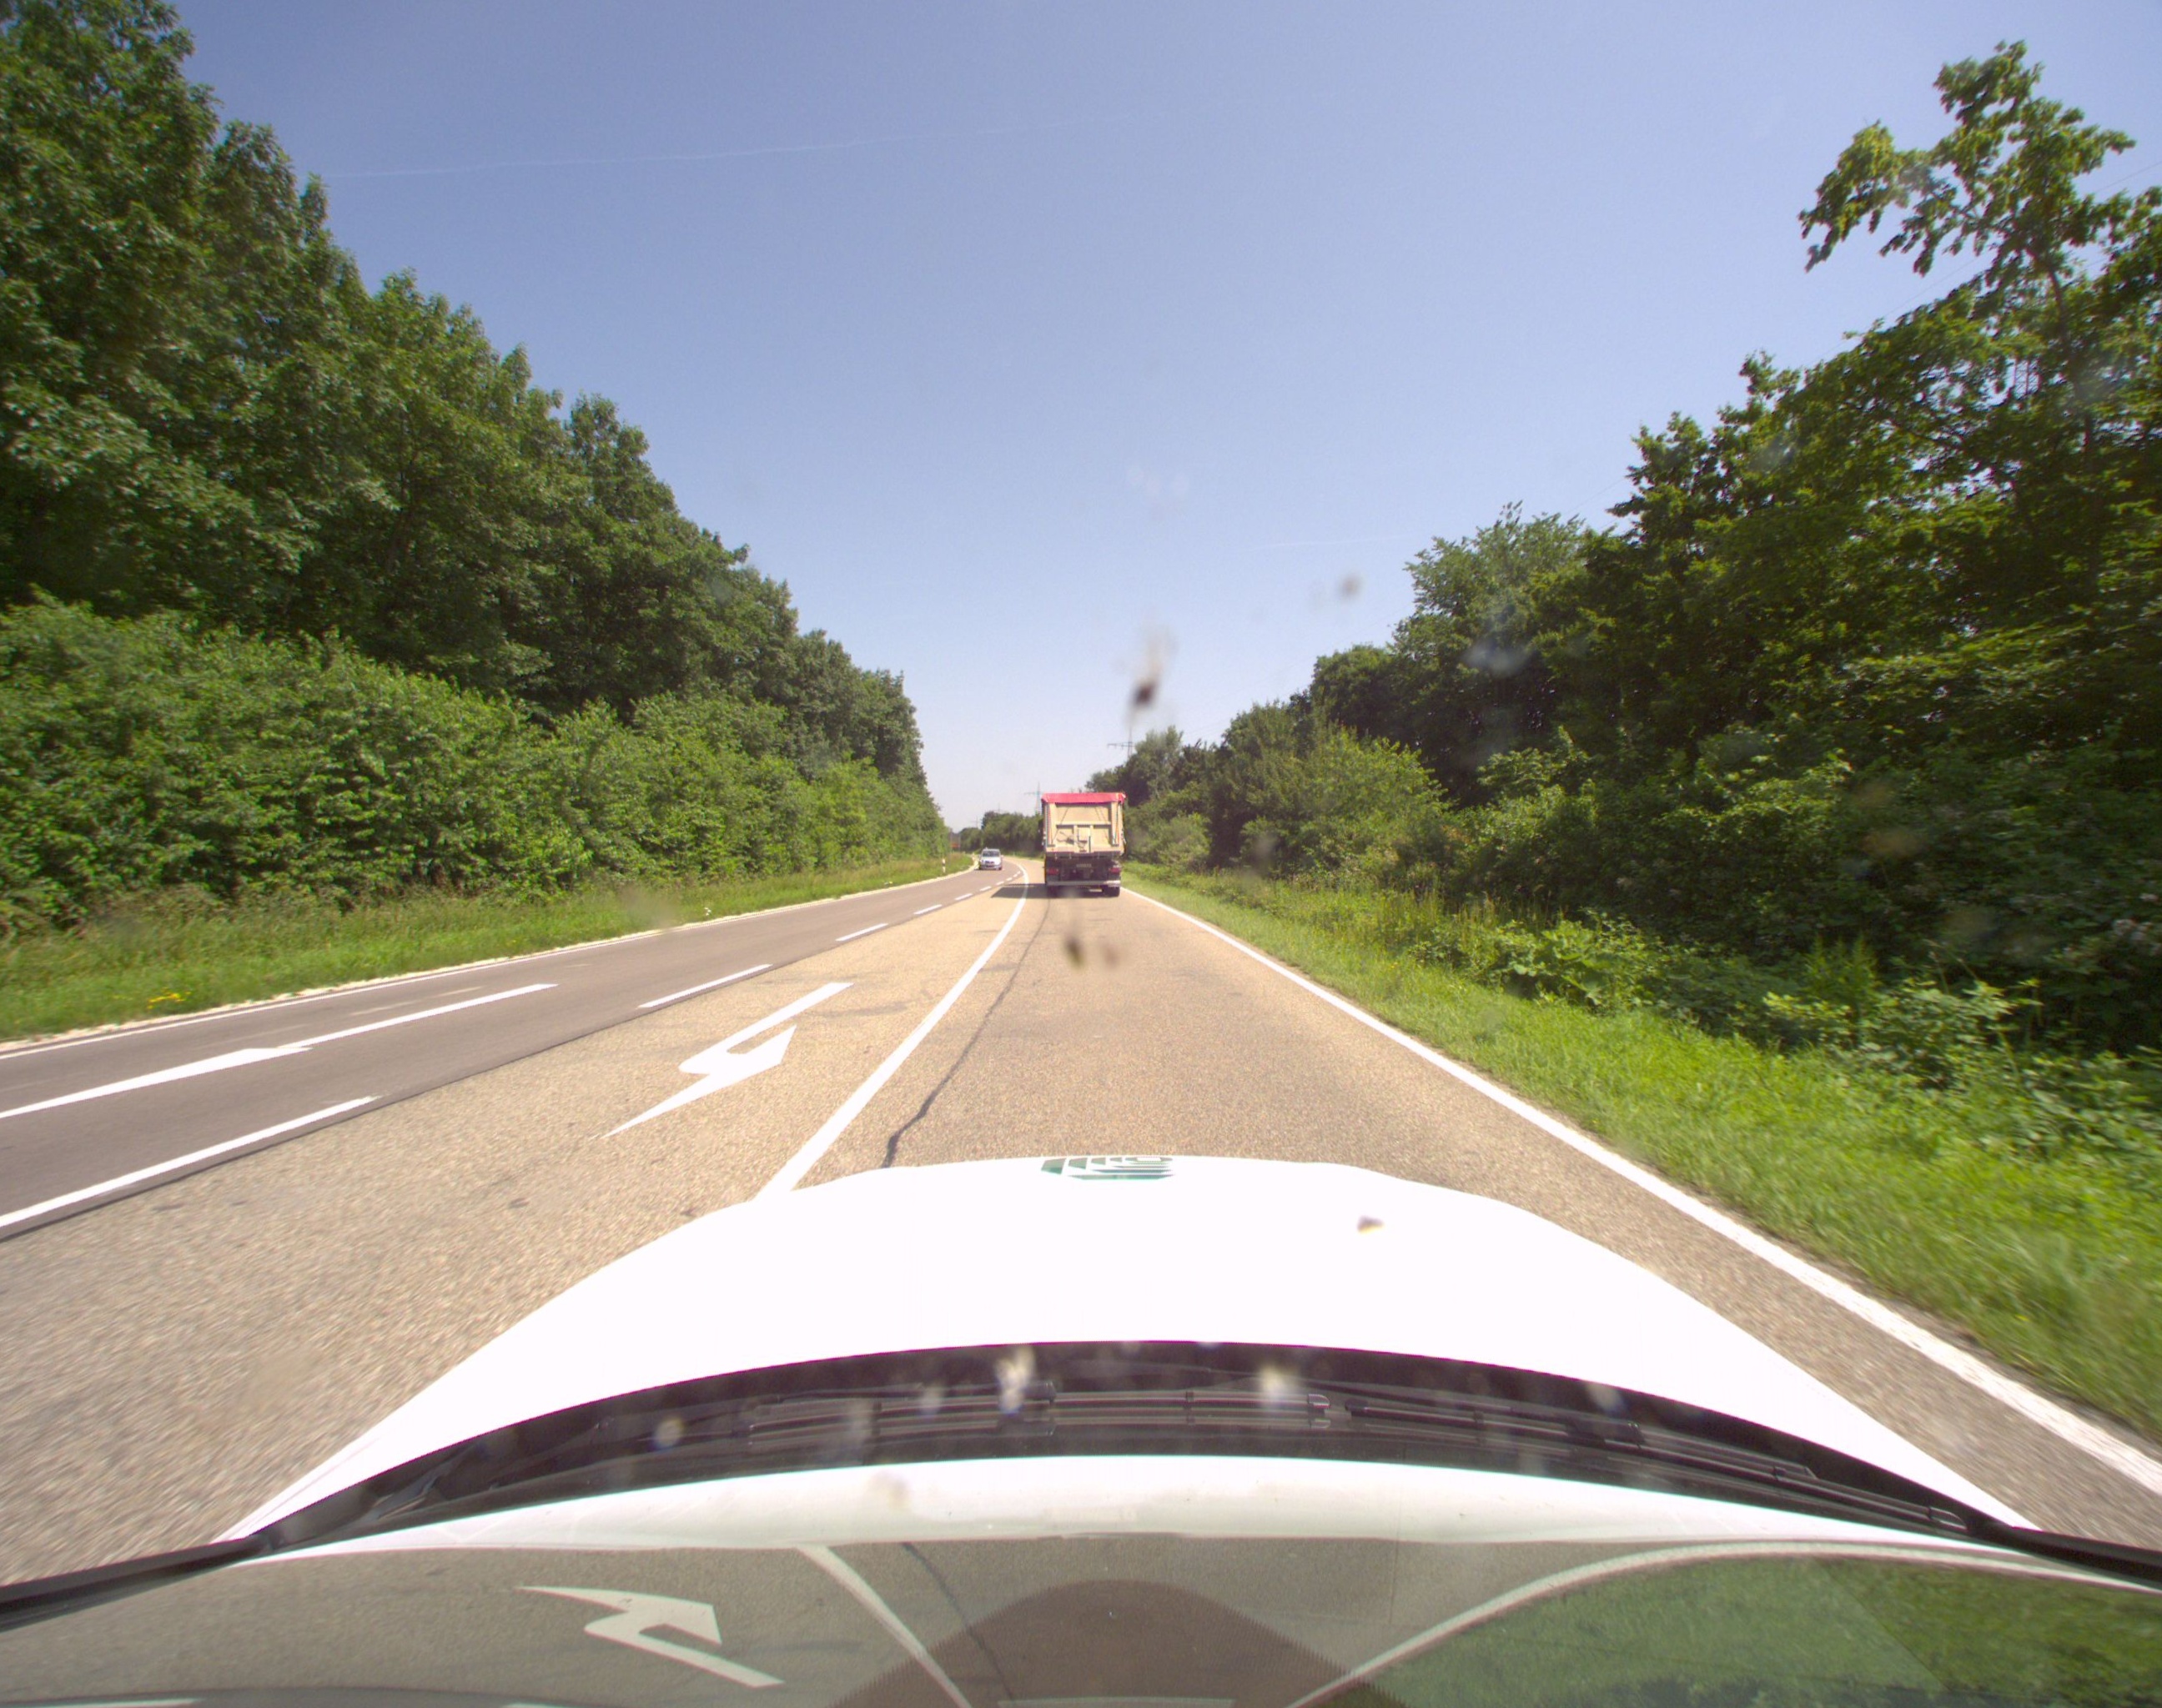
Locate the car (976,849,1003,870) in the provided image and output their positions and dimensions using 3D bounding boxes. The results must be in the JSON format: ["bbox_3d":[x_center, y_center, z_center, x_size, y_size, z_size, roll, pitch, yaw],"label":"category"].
[{"bbox_3d":[-7.158,0.406,64.211,1.798,1.636,4.208,0,0,-2],"label":"car"}]

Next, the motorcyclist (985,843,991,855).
[{"bbox_3d":[-13.250,-0.706,115.783,0.829,1.752,0.622,0,0,-6],"label":"motorcyclist"}]

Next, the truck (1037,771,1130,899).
[{"bbox_3d":[-0.164,-0.647,31.290,2.886,3.962,11.921,0,0,-2],"label":"truck"}]

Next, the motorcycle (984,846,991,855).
[{"bbox_3d":[-13.244,-0.454,115.459,0.945,1.251,2.677,0,0,-5],"label":"motorcycle"}]
